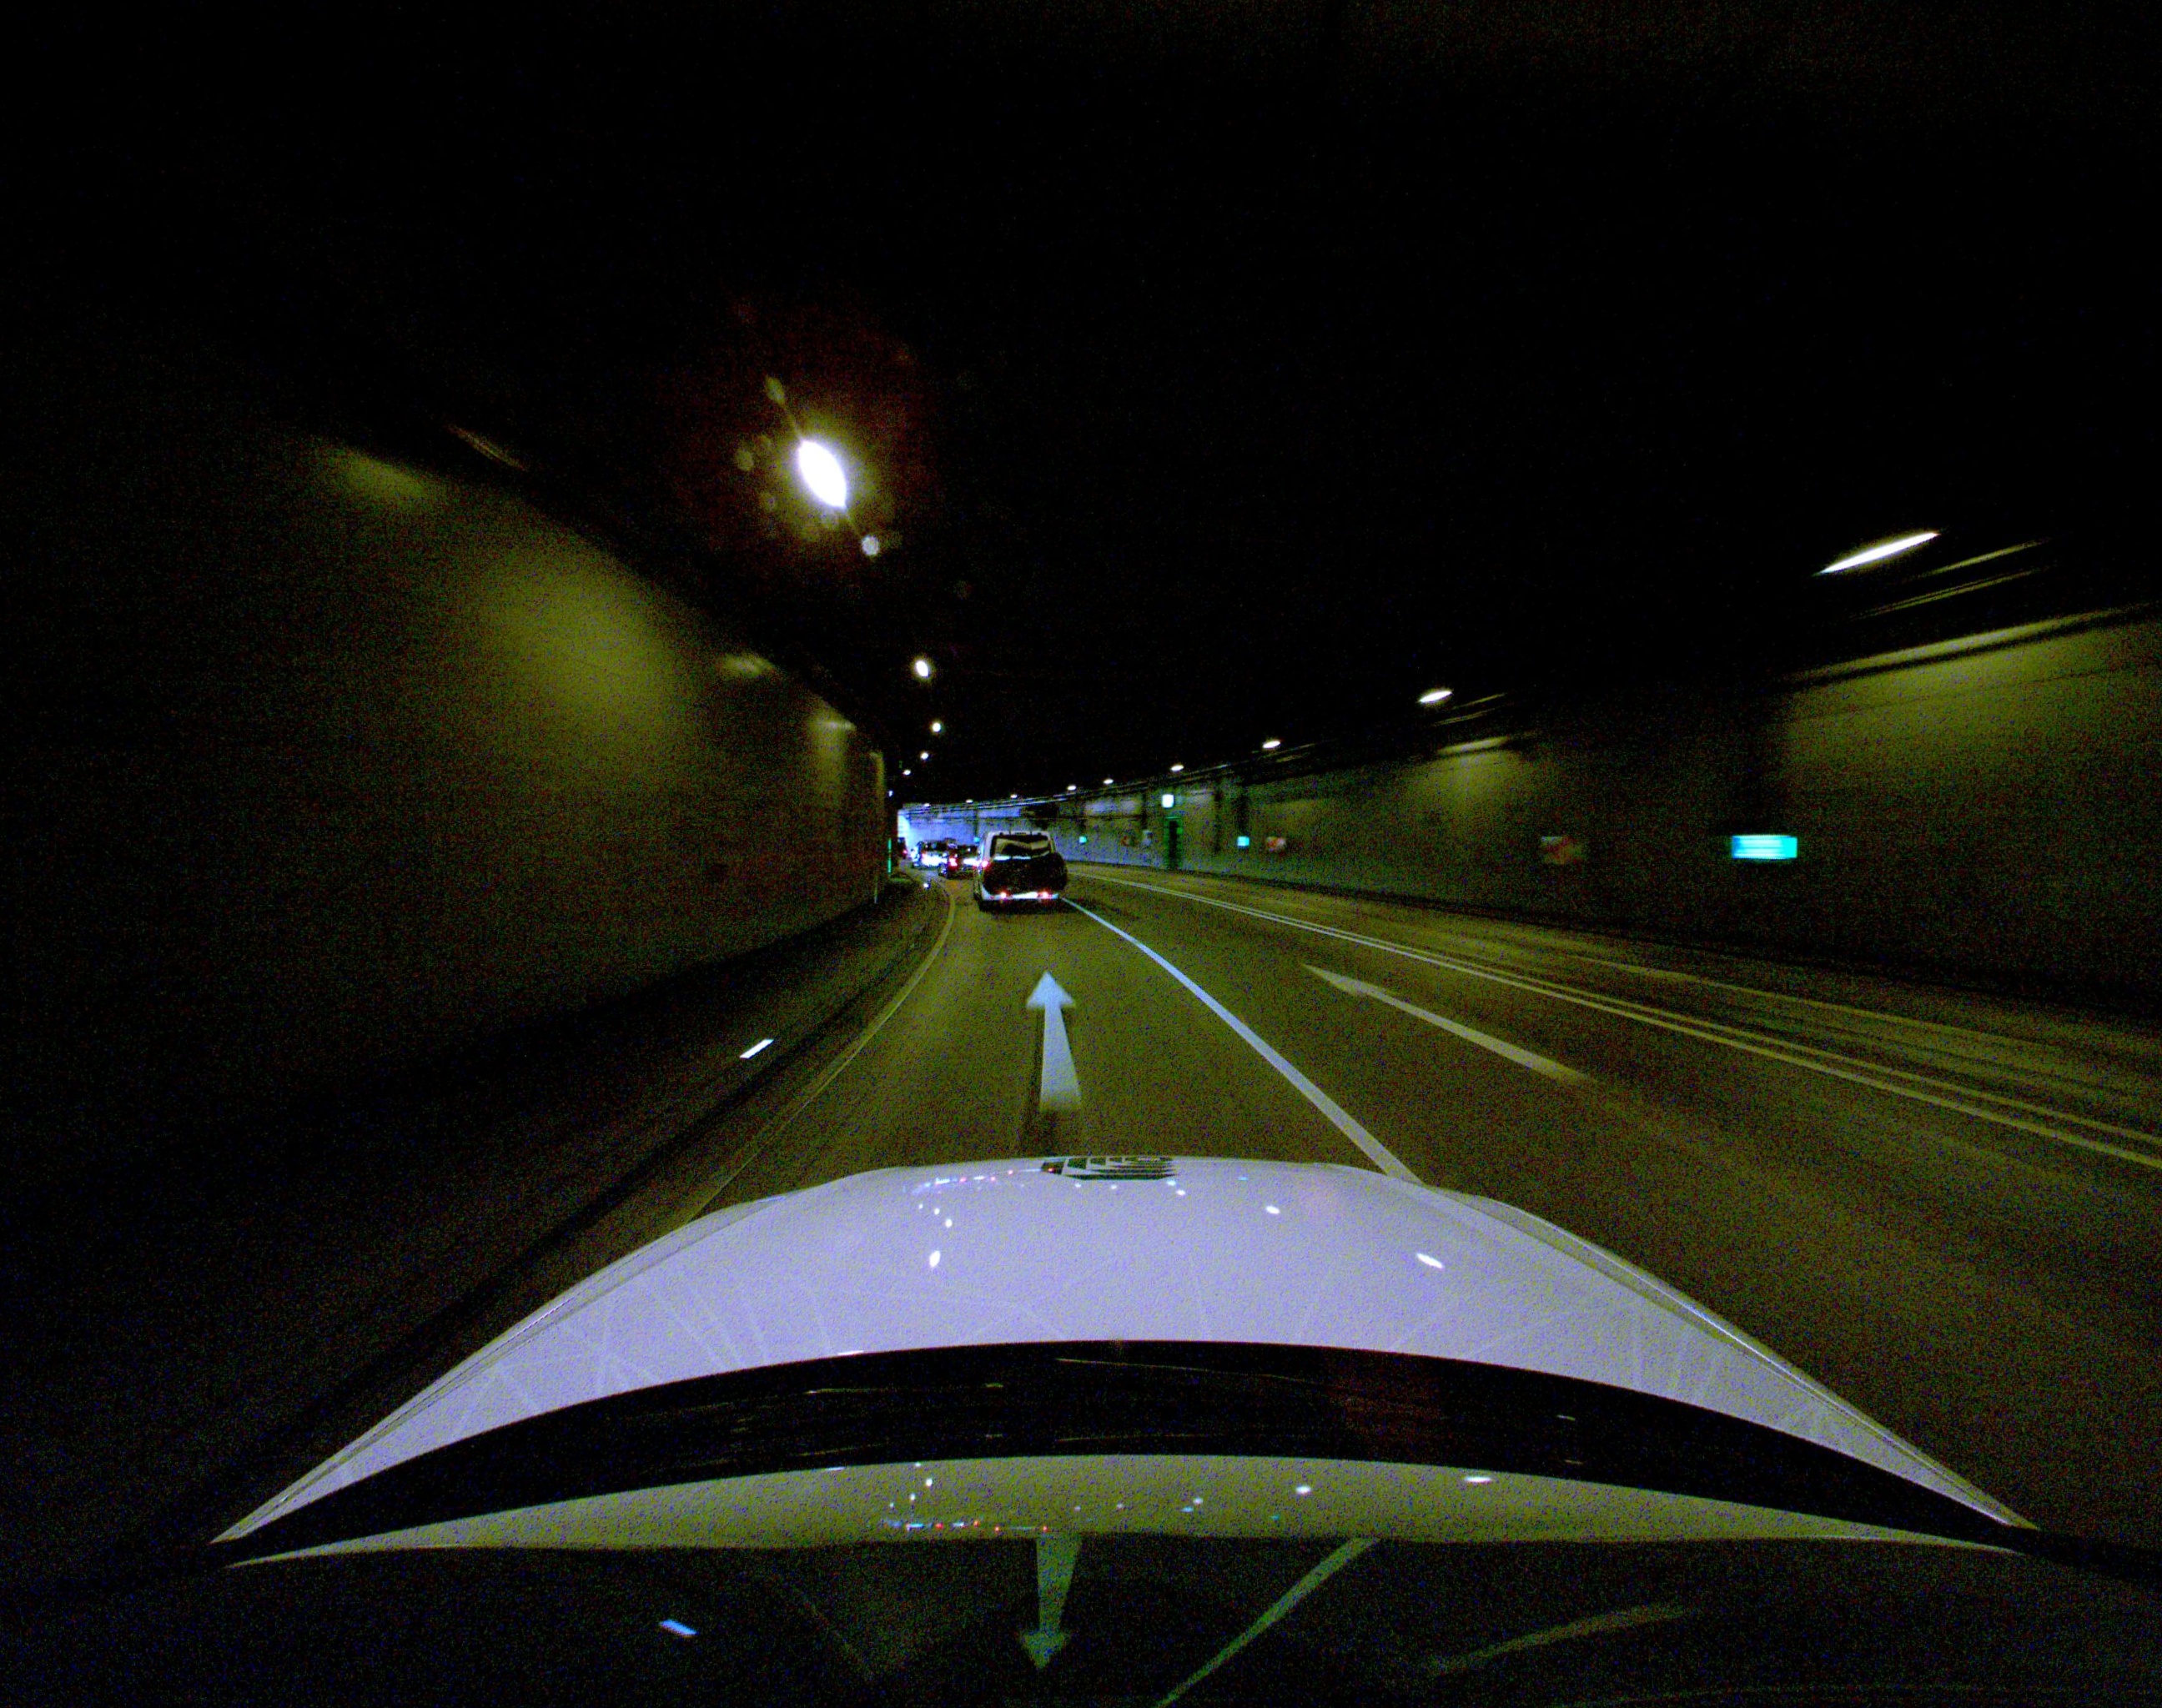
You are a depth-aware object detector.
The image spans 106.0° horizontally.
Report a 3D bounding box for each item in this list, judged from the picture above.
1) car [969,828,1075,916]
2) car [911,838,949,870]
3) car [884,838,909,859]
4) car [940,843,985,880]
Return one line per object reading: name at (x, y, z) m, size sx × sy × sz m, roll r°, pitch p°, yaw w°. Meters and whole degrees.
car at (-1.615, 0.328, 20.069) m, size 1.994 × 1.847 × 5.282 m, roll -1°, pitch 1°, yaw -11°
car at (-8.112, 0.008, 43.584) m, size 1.607 × 1.594 × 3.335 m, roll 1°, pitch 0°, yaw -18°
car at (-14.563, -0.437, 64.271) m, size 1.607 × 1.630 × 3.335 m, roll 0°, pitch 0°, yaw -18°
car at (-5.023, 0.274, 34.241) m, size 1.605 × 1.395 × 3.263 m, roll -2°, pitch 2°, yaw -13°
